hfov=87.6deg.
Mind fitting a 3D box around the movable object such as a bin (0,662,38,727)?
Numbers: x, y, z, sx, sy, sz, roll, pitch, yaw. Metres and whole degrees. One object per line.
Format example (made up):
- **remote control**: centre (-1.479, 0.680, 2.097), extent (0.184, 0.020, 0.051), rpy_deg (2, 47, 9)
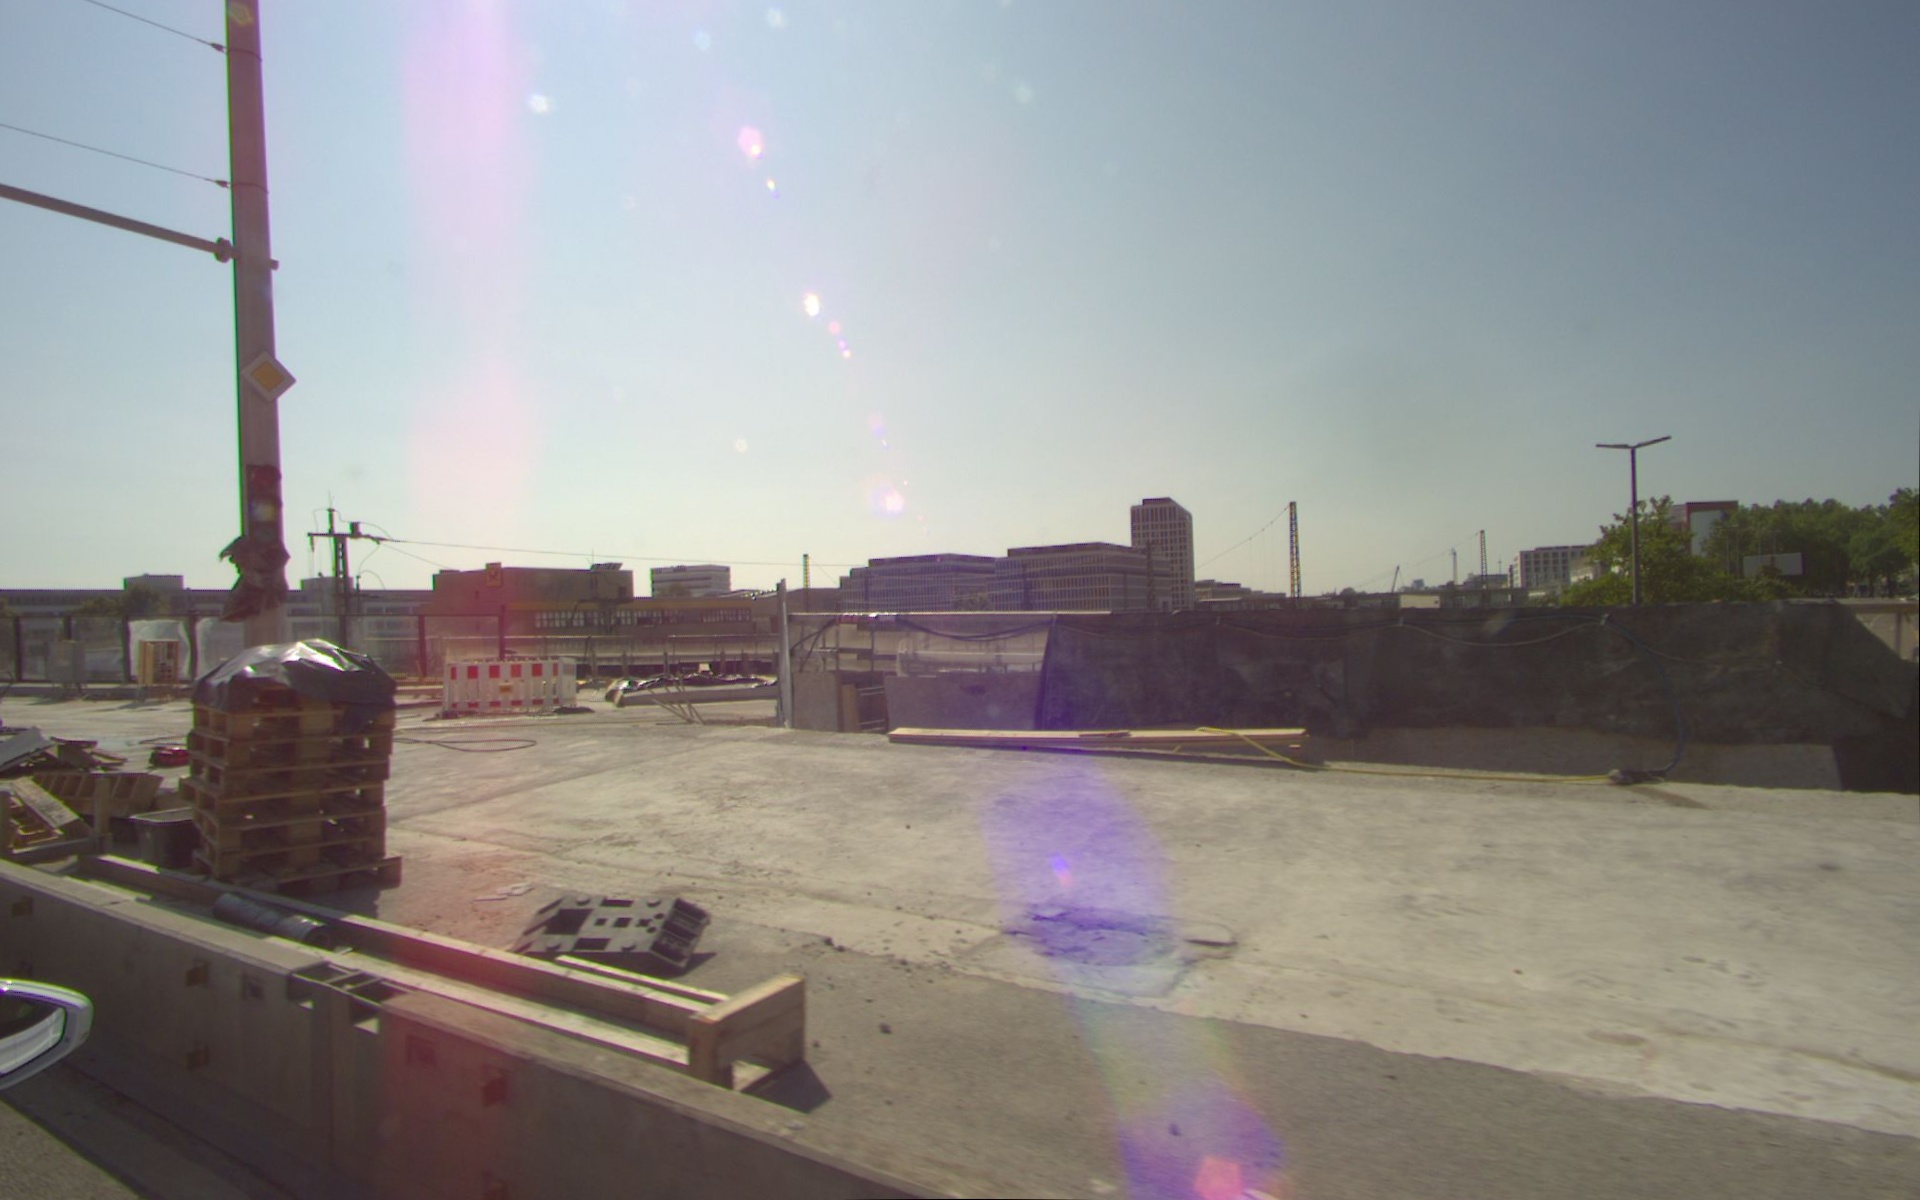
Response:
- **movable object such as a bin**: centre (-17.235, 1.680, 17.793), extent (0.925, 1.088, 0.891), rpy_deg (-1, -1, -12)
